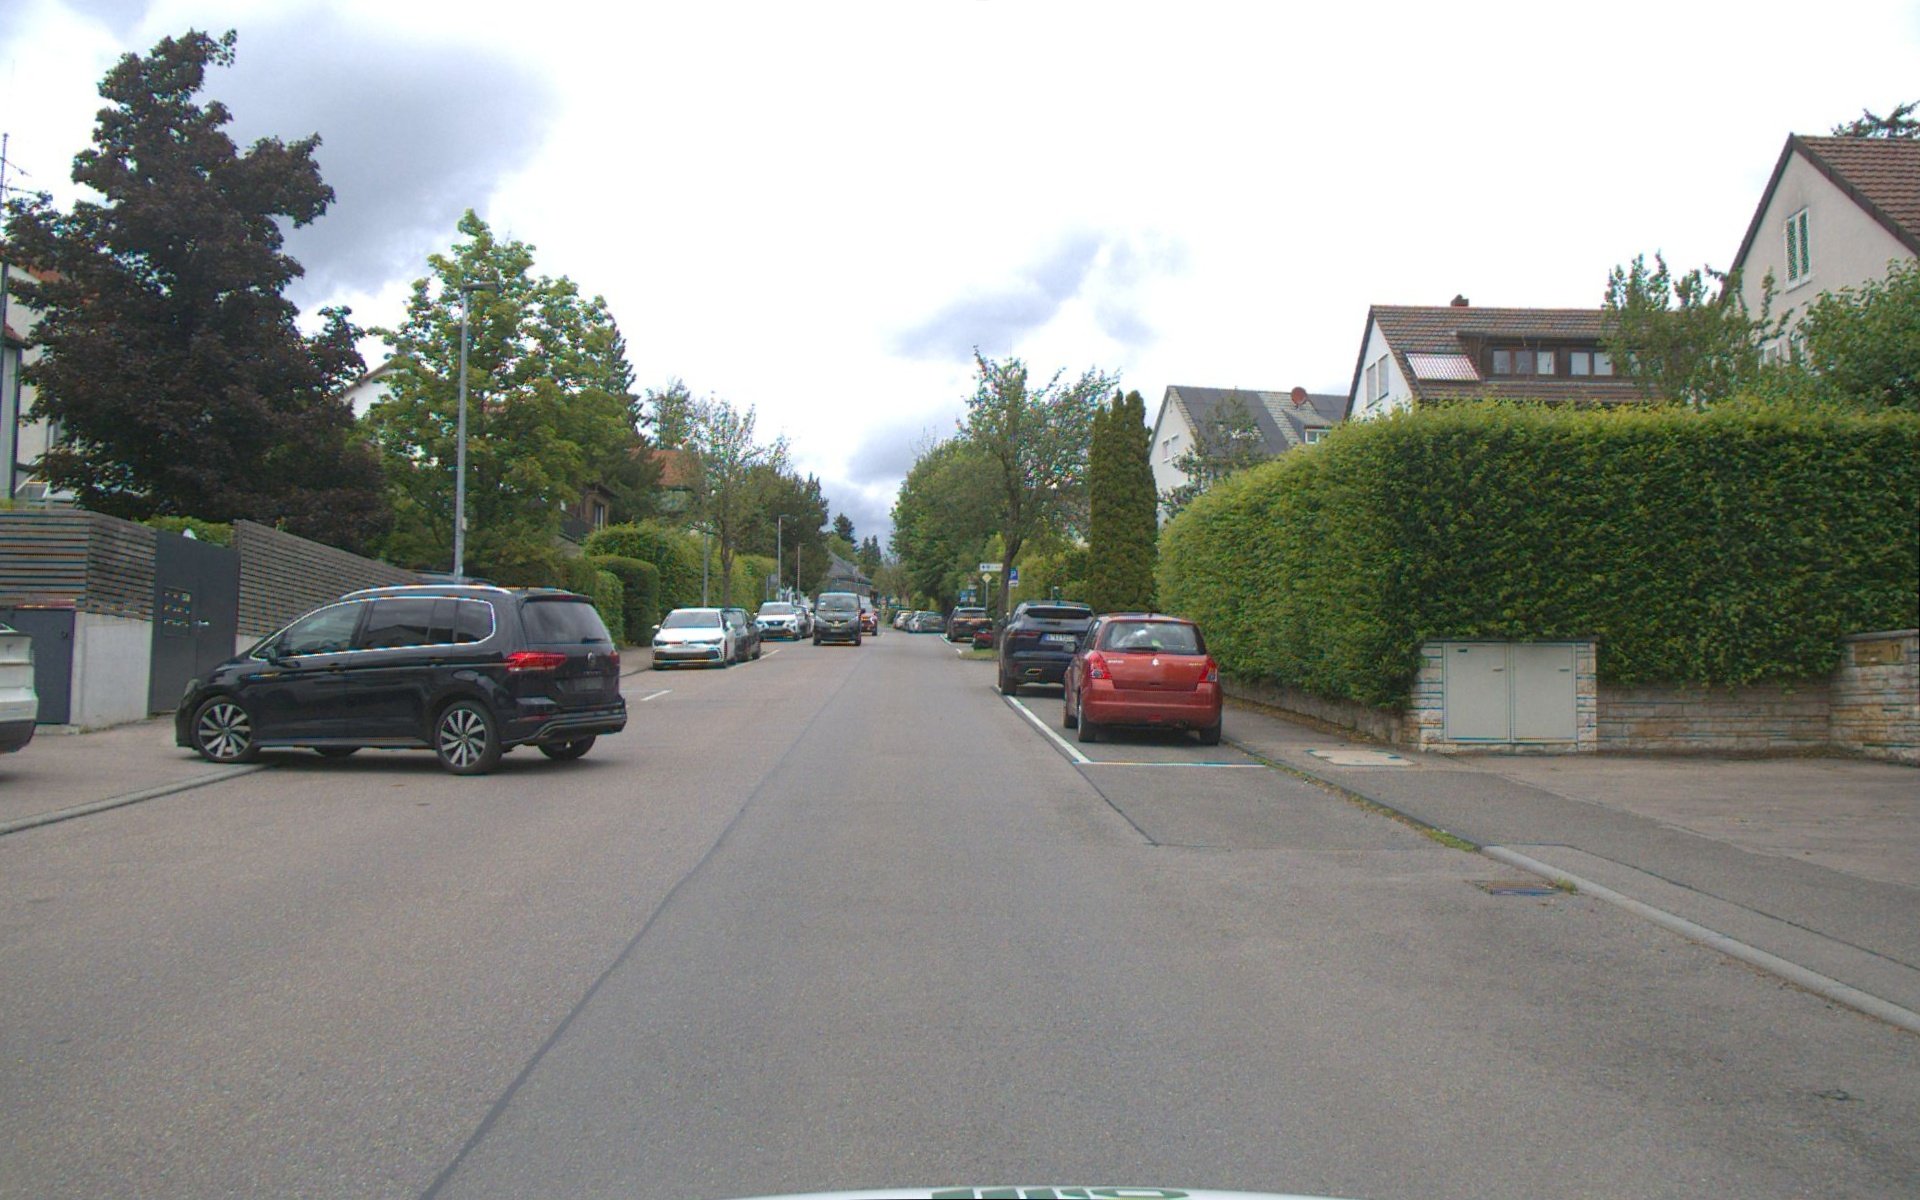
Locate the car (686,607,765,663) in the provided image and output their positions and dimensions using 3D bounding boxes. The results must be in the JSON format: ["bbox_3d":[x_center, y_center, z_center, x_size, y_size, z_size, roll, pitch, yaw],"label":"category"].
[{"bbox_3d":[-6.424,0.936,45.632,1.692,1.448,4.078,-1,-1,-1],"label":"car"}]

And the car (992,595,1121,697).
[{"bbox_3d":[1.673,0.802,30.228,1.953,1.646,4.512,2,-1,-1],"label":"car"}]

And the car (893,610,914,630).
[{"bbox_3d":[-5.018,1.742,147.255,1.633,1.697,3.463,1,0,-6],"label":"car"}]

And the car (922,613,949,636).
[{"bbox_3d":[-1.744,1.726,116.170,1.633,1.527,3.463,1,0,-6],"label":"car"}]

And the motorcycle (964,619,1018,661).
[{"bbox_3d":[1.048,1.329,55.180,1.849,1.370,0.591,0,0,-38],"label":"motorcycle"}]

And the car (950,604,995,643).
[{"bbox_3d":[0.501,1.001,72.698,1.844,1.560,4.474,2,0,-1],"label":"car"}]

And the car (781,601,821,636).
[{"bbox_3d":[-7.361,0.846,76.636,1.597,1.550,3.636,-2,0,-2],"label":"car"}]

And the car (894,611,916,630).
[{"bbox_3d":[-4.667,1.738,140.535,1.633,1.527,3.463,1,0,-6],"label":"car"}]

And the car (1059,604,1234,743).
[{"bbox_3d":[2.208,0.829,20.424,1.627,1.534,3.757,1,0,-2],"label":"car"}]

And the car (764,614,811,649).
[{"bbox_3d":[-7.430,1.386,71.447,1.727,1.412,3.998,-2,-2,-2],"label":"car"}]

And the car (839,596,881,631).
[{"bbox_3d":[-4.916,0.654,81.499,1.902,1.676,4.256,-1,0,-2],"label":"car"}]

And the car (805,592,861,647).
[{"bbox_3d":[-4.519,0.686,59.477,1.847,1.883,4.399,0,0,-2],"label":"car"}]

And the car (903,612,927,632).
[{"bbox_3d":[-3.578,1.735,130.033,1.633,1.527,3.463,1,0,-6],"label":"car"}]

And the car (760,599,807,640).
[{"bbox_3d":[-6.974,0.742,65.618,1.688,1.567,3.997,-1,0,-4],"label":"car"}]

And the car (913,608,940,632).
[{"bbox_3d":[-2.441,1.424,120.607,1.680,1.686,3.617,1,0,-6],"label":"car"}]

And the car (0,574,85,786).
[{"bbox_3d":[-9.681,0.518,13.136,4.324,1.657,1.909,3,-1,-3],"label":"car"}]

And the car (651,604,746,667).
[{"bbox_3d":[-6.421,0.842,41.000,1.800,1.447,4.406,-1,0,-3],"label":"car"}]

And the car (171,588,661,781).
[{"bbox_3d":[-5.190,0.733,15.849,4.208,1.640,1.854,1,-1,20],"label":"car"}]
